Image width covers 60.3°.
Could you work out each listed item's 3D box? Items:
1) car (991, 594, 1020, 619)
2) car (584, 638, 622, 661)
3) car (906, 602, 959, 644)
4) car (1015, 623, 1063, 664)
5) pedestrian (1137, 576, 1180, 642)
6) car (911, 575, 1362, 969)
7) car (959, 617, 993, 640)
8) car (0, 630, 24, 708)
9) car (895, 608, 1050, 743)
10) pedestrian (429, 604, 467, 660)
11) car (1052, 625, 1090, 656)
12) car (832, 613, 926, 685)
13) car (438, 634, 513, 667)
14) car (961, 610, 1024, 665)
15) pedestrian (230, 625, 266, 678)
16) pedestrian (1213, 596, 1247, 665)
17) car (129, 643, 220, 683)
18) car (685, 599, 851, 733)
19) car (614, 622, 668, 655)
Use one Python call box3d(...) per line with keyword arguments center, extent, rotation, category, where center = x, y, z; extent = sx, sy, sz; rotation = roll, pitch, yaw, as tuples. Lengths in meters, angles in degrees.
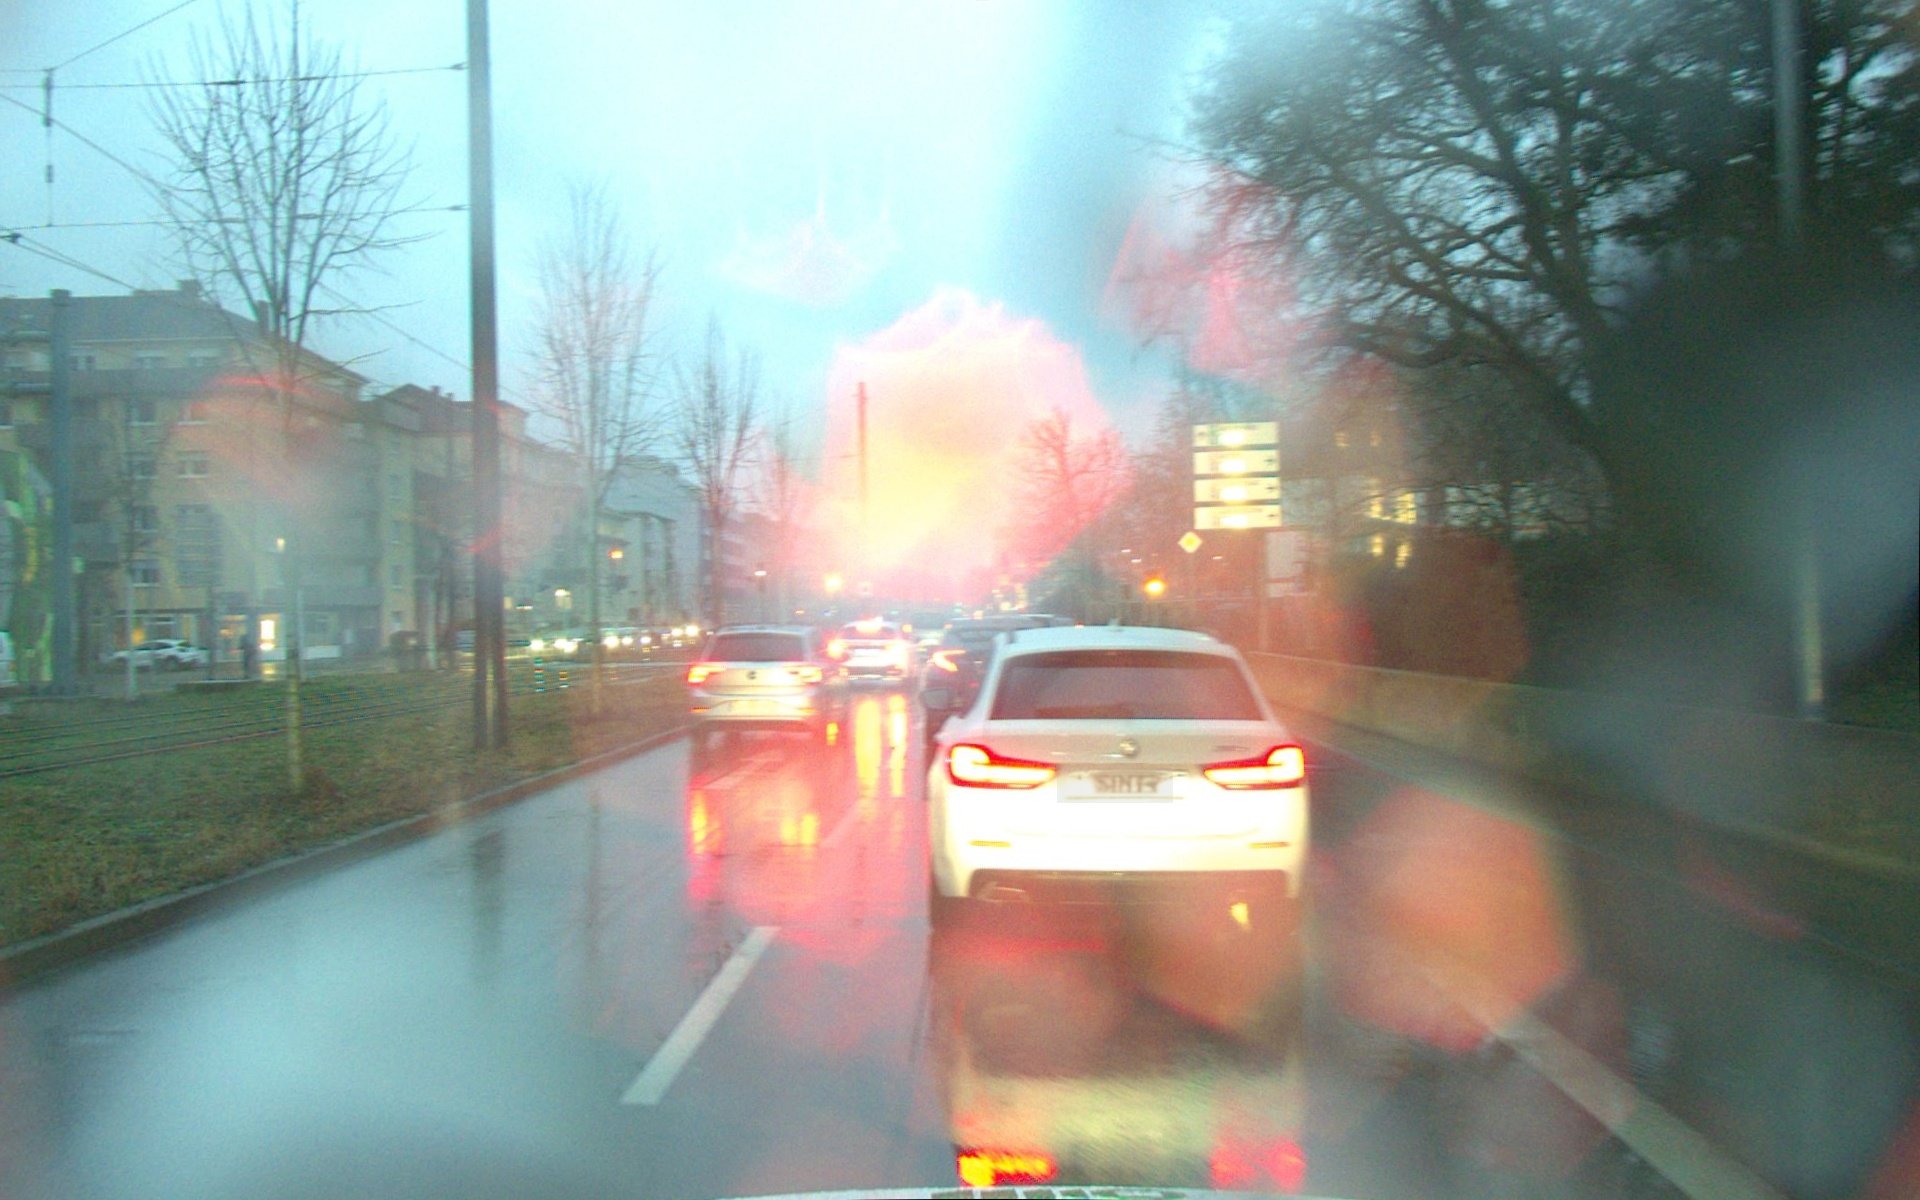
box3d(center=(2.780, 0.403, 101.347), extent=(1.702, 1.444, 4.146), rotation=(-2, -1, 1), category="car")
box3d(center=(-21.188, 2.913, 98.252), extent=(1.658, 1.300, 4.144), rotation=(-1, -1, -5), category="car")
box3d(center=(-0.973, 0.846, 60.647), extent=(1.702, 1.444, 4.394), rotation=(-2, -1, 1), category="car")
box3d(center=(2.908, 1.593, 61.492), extent=(1.702, 1.444, 3.703), rotation=(-2, -1, 1), category="car")
box3d(center=(6.292, 0.301, 52.455), extent=(0.945, 2.049, 1.001), rotation=(-1, -1, -21), category="pedestrian")
box3d(center=(0.790, 0.734, 9.311), extent=(1.824, 1.583, 4.939), rotation=(-2, -1, 1), category="car")
box3d(center=(0.932, 1.649, 96.422), extent=(1.890, 1.311, 4.000), rotation=(1, -1, 2), category="car")
box3d(center=(-30.255, 2.020, 48.230), extent=(4.795, 2.283, 1.967), rotation=(2, -2, -45), category="car")
box3d(center=(0.197, 0.902, 21.102), extent=(1.762, 1.537, 3.895), rotation=(-1, -1, 1), category="car")
box3d(center=(-19.137, 1.181, 61.817), extent=(0.939, 2.049, 1.008), rotation=(-2, -1, 19), category="pedestrian")
box3d(center=(5.483, 1.991, 82.092), extent=(1.702, 1.444, 3.703), rotation=(-2, -1, 1), category="car")
box3d(center=(-1.773, 1.064, 37.656), extent=(1.762, 1.492, 4.586), rotation=(-2, -1, 1), category="car")
box3d(center=(-20.635, 2.134, 70.561), extent=(1.820, 1.355, 4.315), rotation=(1, -1, 1), category="car")
box3d(center=(0.932, 1.042, 47.010), extent=(1.702, 1.444, 3.703), rotation=(-2, -1, 1), category="car")
box3d(center=(-28.263, 2.041, 65.697), extent=(1.252, 2.049, 1.001), rotation=(-1, -1, -23), category="pedestrian")
box3d(center=(8.192, 0.934, 50.194), extent=(0.938, 2.049, 1.008), rotation=(-1, -1, 7), category="pedestrian")
box3d(center=(-39.445, 3.159, 83.122), extent=(3.676, 1.976, 1.839), rotation=(1, -1, -7), category="car")
box3d(center=(-2.359, 0.783, 21.218), extent=(1.658, 1.560, 4.000), rotation=(0, -1, 0), category="car")
box3d(center=(-16.211, 1.934, 84.205), extent=(1.952, 1.630, 4.000), rotation=(1, -1, 0), category="car")
